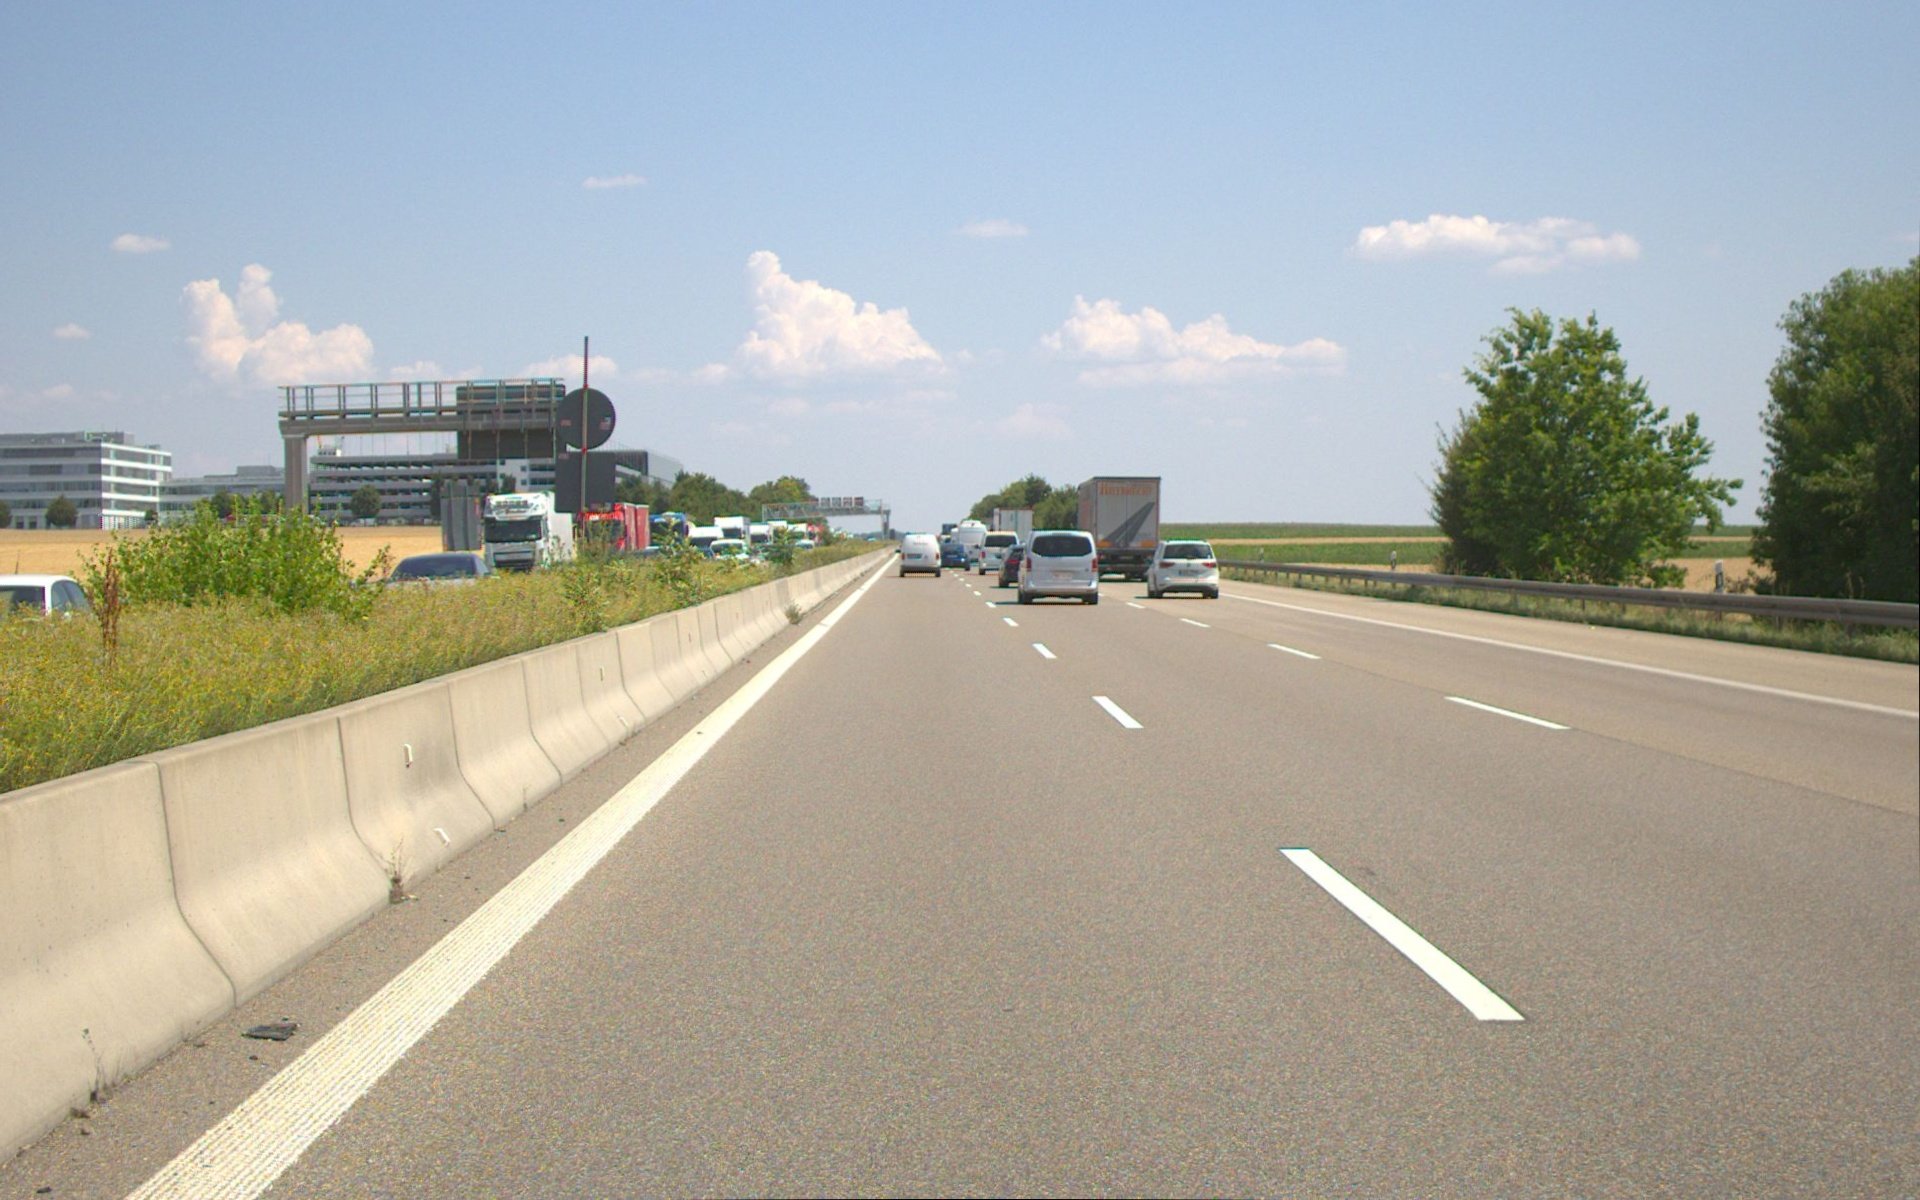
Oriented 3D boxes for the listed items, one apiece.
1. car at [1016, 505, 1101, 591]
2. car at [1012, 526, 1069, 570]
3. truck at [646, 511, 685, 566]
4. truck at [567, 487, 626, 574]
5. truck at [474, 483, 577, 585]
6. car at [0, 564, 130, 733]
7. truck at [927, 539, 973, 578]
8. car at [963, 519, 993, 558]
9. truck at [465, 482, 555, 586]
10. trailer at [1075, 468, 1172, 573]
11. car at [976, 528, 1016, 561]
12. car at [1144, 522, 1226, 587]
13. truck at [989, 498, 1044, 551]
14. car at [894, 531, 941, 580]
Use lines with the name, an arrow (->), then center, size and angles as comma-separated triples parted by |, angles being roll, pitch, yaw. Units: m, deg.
car -> 2.484, -1.290, 87.242 | 1.993, 2.112, 4.000 | 0, 0, -1
car -> 2.703, -1.745, 116.399 | 1.773, 1.442, 4.000 | 0, 0, -1
truck -> -19.266, -4.038, 225.445 | 2.109, 3.588, 7.122 | -1, 1, -2
truck -> -19.557, -3.750, 185.115 | 2.776, 4.582, 4.724 | -1, 1, -2
truck -> -18.835, -2.888, 149.706 | 2.950, 4.144, 12.868 | -2, 1, -1
car -> -8.791, 0.400, 31.135 | 1.694, 1.412, 3.815 | -1, 1, -2
truck -> -0.538, -2.175, 179.209 | 2.211, 2.007, 4.972 | -1, 1, -2
car -> 1.130, -3.789, 212.679 | 1.773, 2.384, 4.000 | 0, 0, -1
truck -> -18.708, -2.766, 143.185 | 2.950, 4.144, 5.472 | -2, 1, -1
trailer -> 6.420, -3.076, 136.296 | 3.277, 3.953, 9.113 | 0, 0, -1
car -> 1.657, -2.554, 159.144 | 1.773, 1.442, 4.000 | 0, 0, -1
car -> 6.308, -1.258, 96.838 | 1.993, 1.788, 4.000 | 0, 0, -1
truck -> 4.232, -5.671, 259.499 | 3.815, 3.891, 9.581 | -1, 1, -1
car -> -1.823, -1.896, 147.530 | 1.993, 2.007, 4.000 | 0, 0, -1
